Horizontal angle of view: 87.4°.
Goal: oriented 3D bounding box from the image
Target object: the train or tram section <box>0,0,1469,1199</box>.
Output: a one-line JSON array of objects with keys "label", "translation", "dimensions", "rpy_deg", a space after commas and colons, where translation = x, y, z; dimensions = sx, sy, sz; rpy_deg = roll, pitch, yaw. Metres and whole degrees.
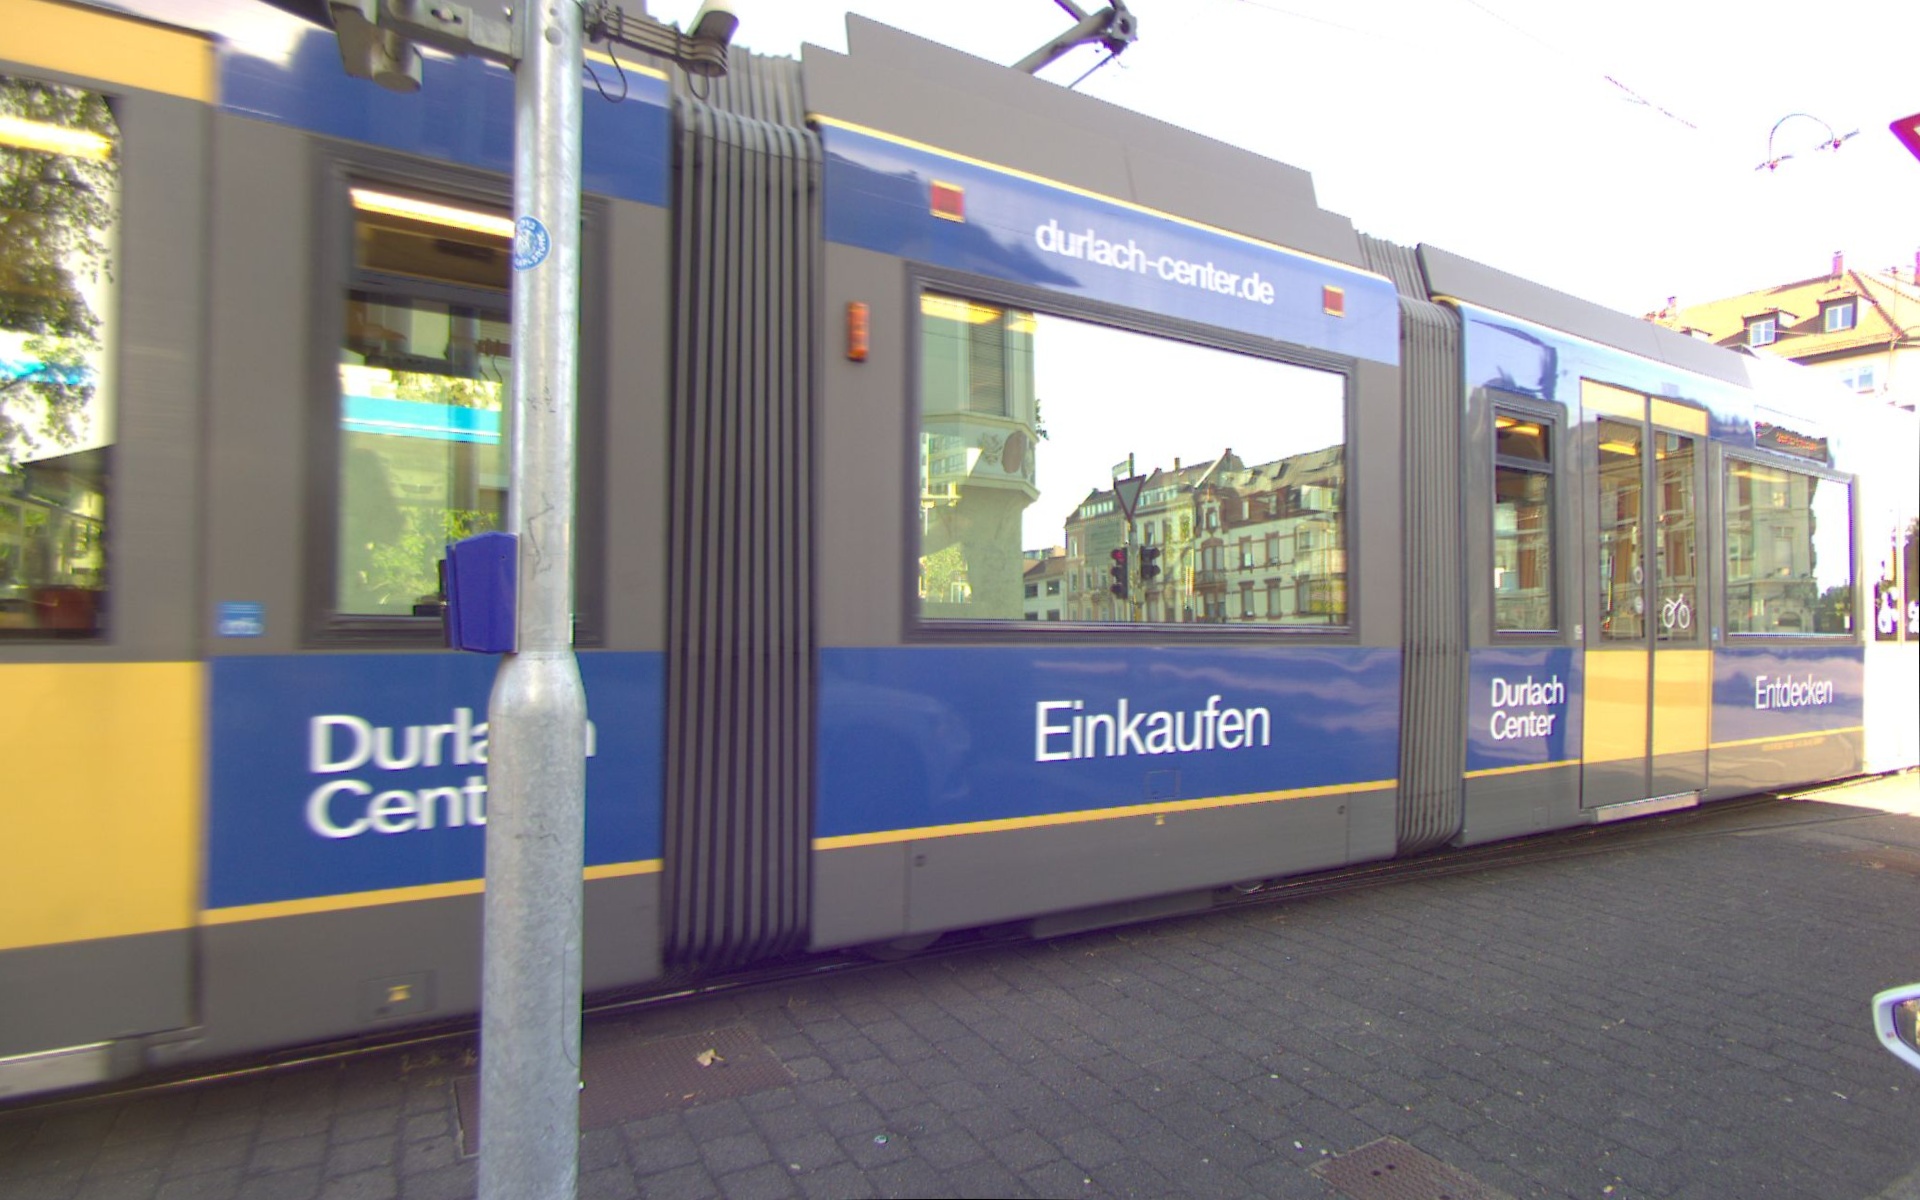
[{"label": "train or tram section", "translation": [-1.900, -0.424, 3.832], "dimensions": [8.362, 3.546, 2.801], "rpy_deg": [1, -1, -30]}]

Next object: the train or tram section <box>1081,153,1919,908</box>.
[{"label": "train or tram section", "translation": [6.638, -0.214, 9.001], "dimensions": [11.892, 3.546, 2.756], "rpy_deg": [1, -1, -31]}]
